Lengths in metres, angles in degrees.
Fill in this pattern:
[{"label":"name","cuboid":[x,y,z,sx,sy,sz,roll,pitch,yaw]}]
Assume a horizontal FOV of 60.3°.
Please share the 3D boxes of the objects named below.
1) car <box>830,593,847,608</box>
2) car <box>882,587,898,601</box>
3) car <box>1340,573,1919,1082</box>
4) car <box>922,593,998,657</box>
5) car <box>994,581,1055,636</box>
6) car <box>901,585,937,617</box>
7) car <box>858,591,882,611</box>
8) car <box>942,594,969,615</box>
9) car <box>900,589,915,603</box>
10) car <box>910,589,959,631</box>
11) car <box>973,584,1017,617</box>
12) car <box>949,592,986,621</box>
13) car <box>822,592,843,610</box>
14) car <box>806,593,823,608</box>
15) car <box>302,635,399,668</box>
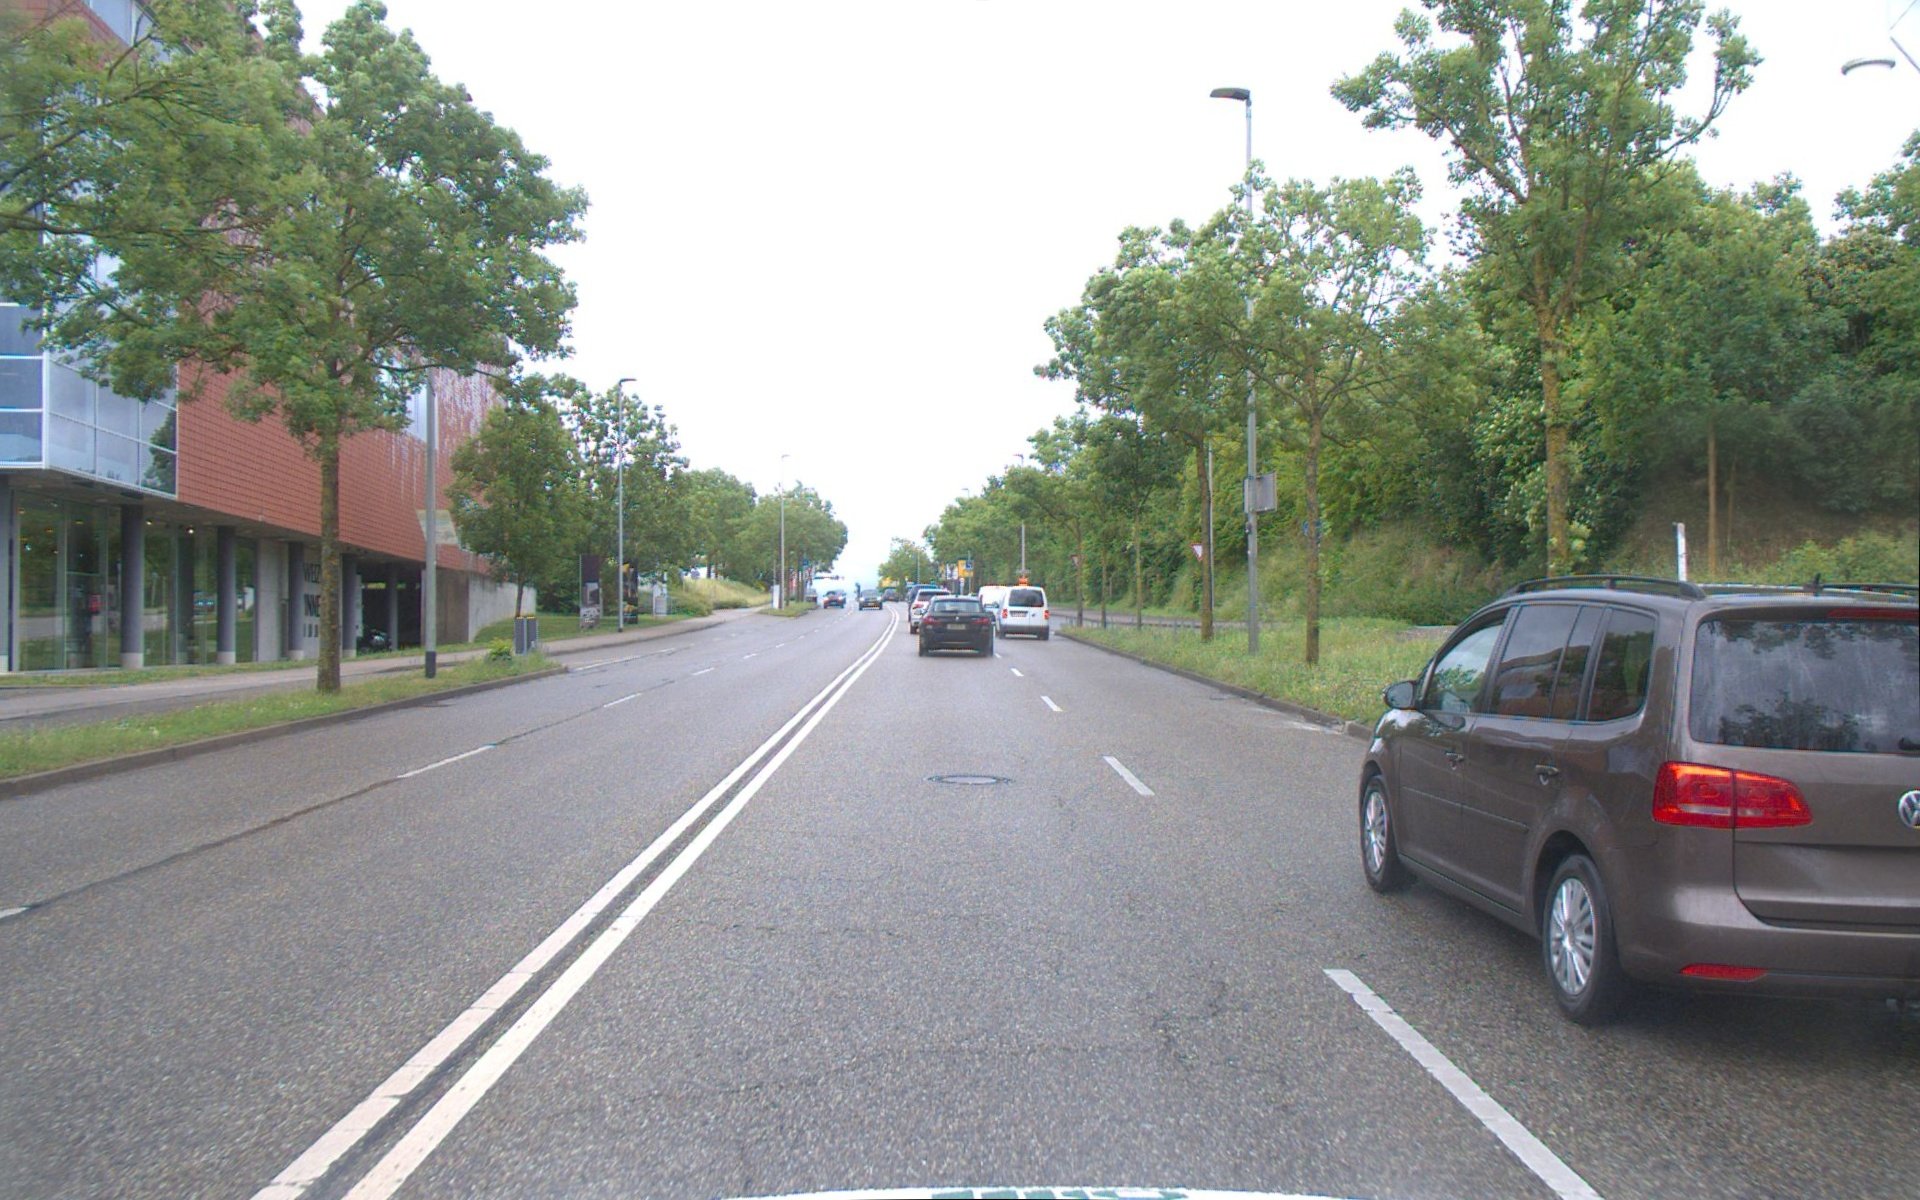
[{"label":"car","cuboid":[-13.024,0.097,176.635,1.759,1.537,3.996,1,-1,-4]},{"label":"car","cuboid":[-7.983,-0.643,187.937,1.758,1.537,3.997,1,-1,-3]},{"label":"car","cuboid":[3.064,0.719,7.377,1.651,1.609,4.217,1,0,-2]},{"label":"car","cuboid":[-0.012,0.587,41.236,1.790,1.494,4.000,0,0,-1]},{"label":"car","cuboid":[2.224,0.280,57.995,1.790,1.790,3.998,1,0,-3]},{"label":"car","cuboid":[-2.108,0.056,84.441,1.758,1.537,3.998,1,-1,-2]},{"label":"car","cuboid":[-7.151,0.102,131.408,1.759,1.537,3.996,1,-1,-4]},{"label":"car","cuboid":[-0.376,0.348,129.791,1.759,1.537,3.996,1,-1,-4]},{"label":"car","cuboid":[-6.293,-0.487,198.159,1.758,1.537,3.997,1,-1,-3]},{"label":"car","cuboid":[-1.002,0.389,63.059,1.758,1.537,3.998,1,-1,-2]},{"label":"car","cuboid":[1.676,0.047,79.973,1.758,1.537,3.997,1,-1,-3]},{"label":"car","cuboid":[0.421,0.367,93.576,1.759,1.537,3.996,1,-1,-4]},{"label":"car","cuboid":[-11.339,0.083,147.139,1.759,1.537,3.996,1,-1,-4]},{"label":"car","cuboid":[-16.403,0.059,186.573,1.759,1.537,3.996,1,-1,-4]},{"label":"car","cuboid":[-25.644,2.160,69.647,3.463,1.307,1.521,1,-1,1]}]
